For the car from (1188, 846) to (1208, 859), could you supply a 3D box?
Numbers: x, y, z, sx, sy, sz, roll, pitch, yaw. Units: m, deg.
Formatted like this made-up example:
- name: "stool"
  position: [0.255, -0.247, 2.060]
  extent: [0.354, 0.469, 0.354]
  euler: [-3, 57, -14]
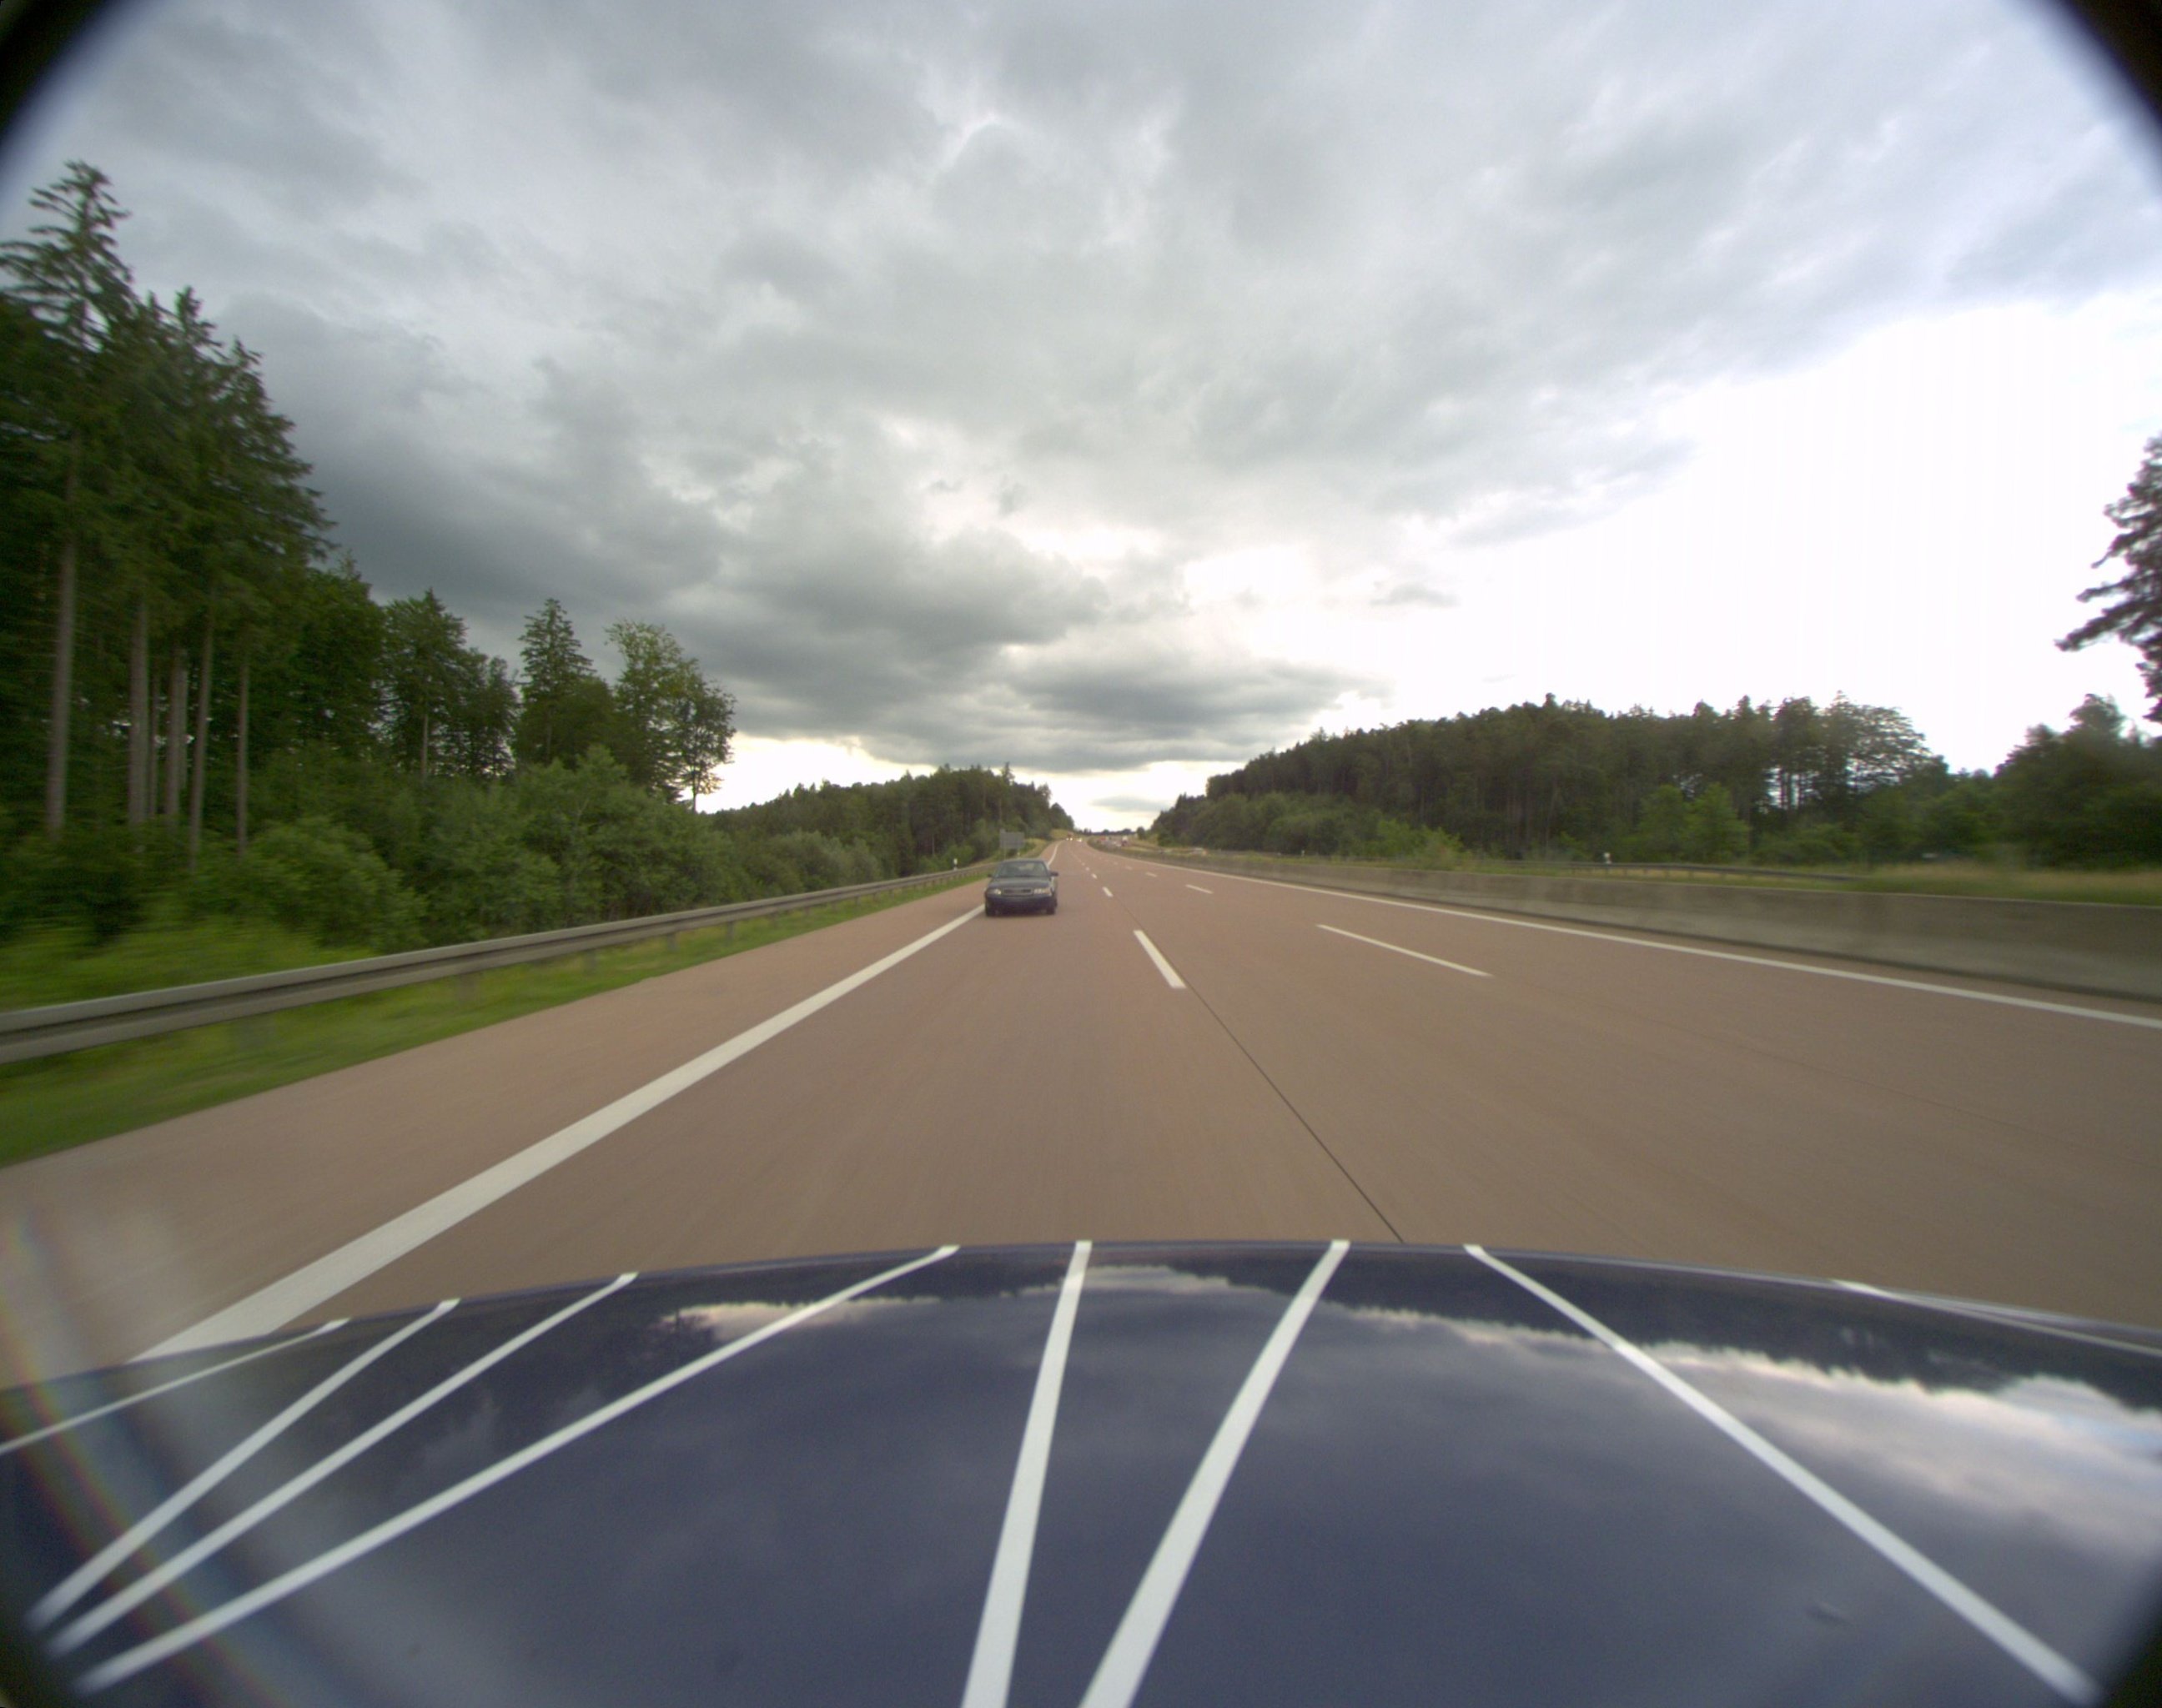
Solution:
- name: "car"
  position: [17.153, -0.260, 111.267]
  extent: [2.039, 1.872, 4.723]
  euler: [-2, 1, -1]

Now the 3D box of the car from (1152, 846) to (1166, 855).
- name: "car"
  position: [16.132, -0.734, 157.211]
  extent: [2.039, 1.872, 4.722]
  euler: [-2, 1, -2]

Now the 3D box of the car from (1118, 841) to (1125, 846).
- name: "car"
  position: [13.939, -3.625, 263.078]
  extent: [2.039, 1.872, 4.722]
  euler: [-2, 1, -2]

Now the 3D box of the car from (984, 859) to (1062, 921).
- name: "car"
  position: [-1.436, 0.874, 20.184]
  extent: [1.676, 1.395, 4.233]
  euler: [-1, 0, 1]

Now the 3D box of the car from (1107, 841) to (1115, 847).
- name: "car"
  position: [10.082, -3.386, 255.008]
  extent: [2.039, 1.872, 4.722]
  euler: [-2, 1, -2]
